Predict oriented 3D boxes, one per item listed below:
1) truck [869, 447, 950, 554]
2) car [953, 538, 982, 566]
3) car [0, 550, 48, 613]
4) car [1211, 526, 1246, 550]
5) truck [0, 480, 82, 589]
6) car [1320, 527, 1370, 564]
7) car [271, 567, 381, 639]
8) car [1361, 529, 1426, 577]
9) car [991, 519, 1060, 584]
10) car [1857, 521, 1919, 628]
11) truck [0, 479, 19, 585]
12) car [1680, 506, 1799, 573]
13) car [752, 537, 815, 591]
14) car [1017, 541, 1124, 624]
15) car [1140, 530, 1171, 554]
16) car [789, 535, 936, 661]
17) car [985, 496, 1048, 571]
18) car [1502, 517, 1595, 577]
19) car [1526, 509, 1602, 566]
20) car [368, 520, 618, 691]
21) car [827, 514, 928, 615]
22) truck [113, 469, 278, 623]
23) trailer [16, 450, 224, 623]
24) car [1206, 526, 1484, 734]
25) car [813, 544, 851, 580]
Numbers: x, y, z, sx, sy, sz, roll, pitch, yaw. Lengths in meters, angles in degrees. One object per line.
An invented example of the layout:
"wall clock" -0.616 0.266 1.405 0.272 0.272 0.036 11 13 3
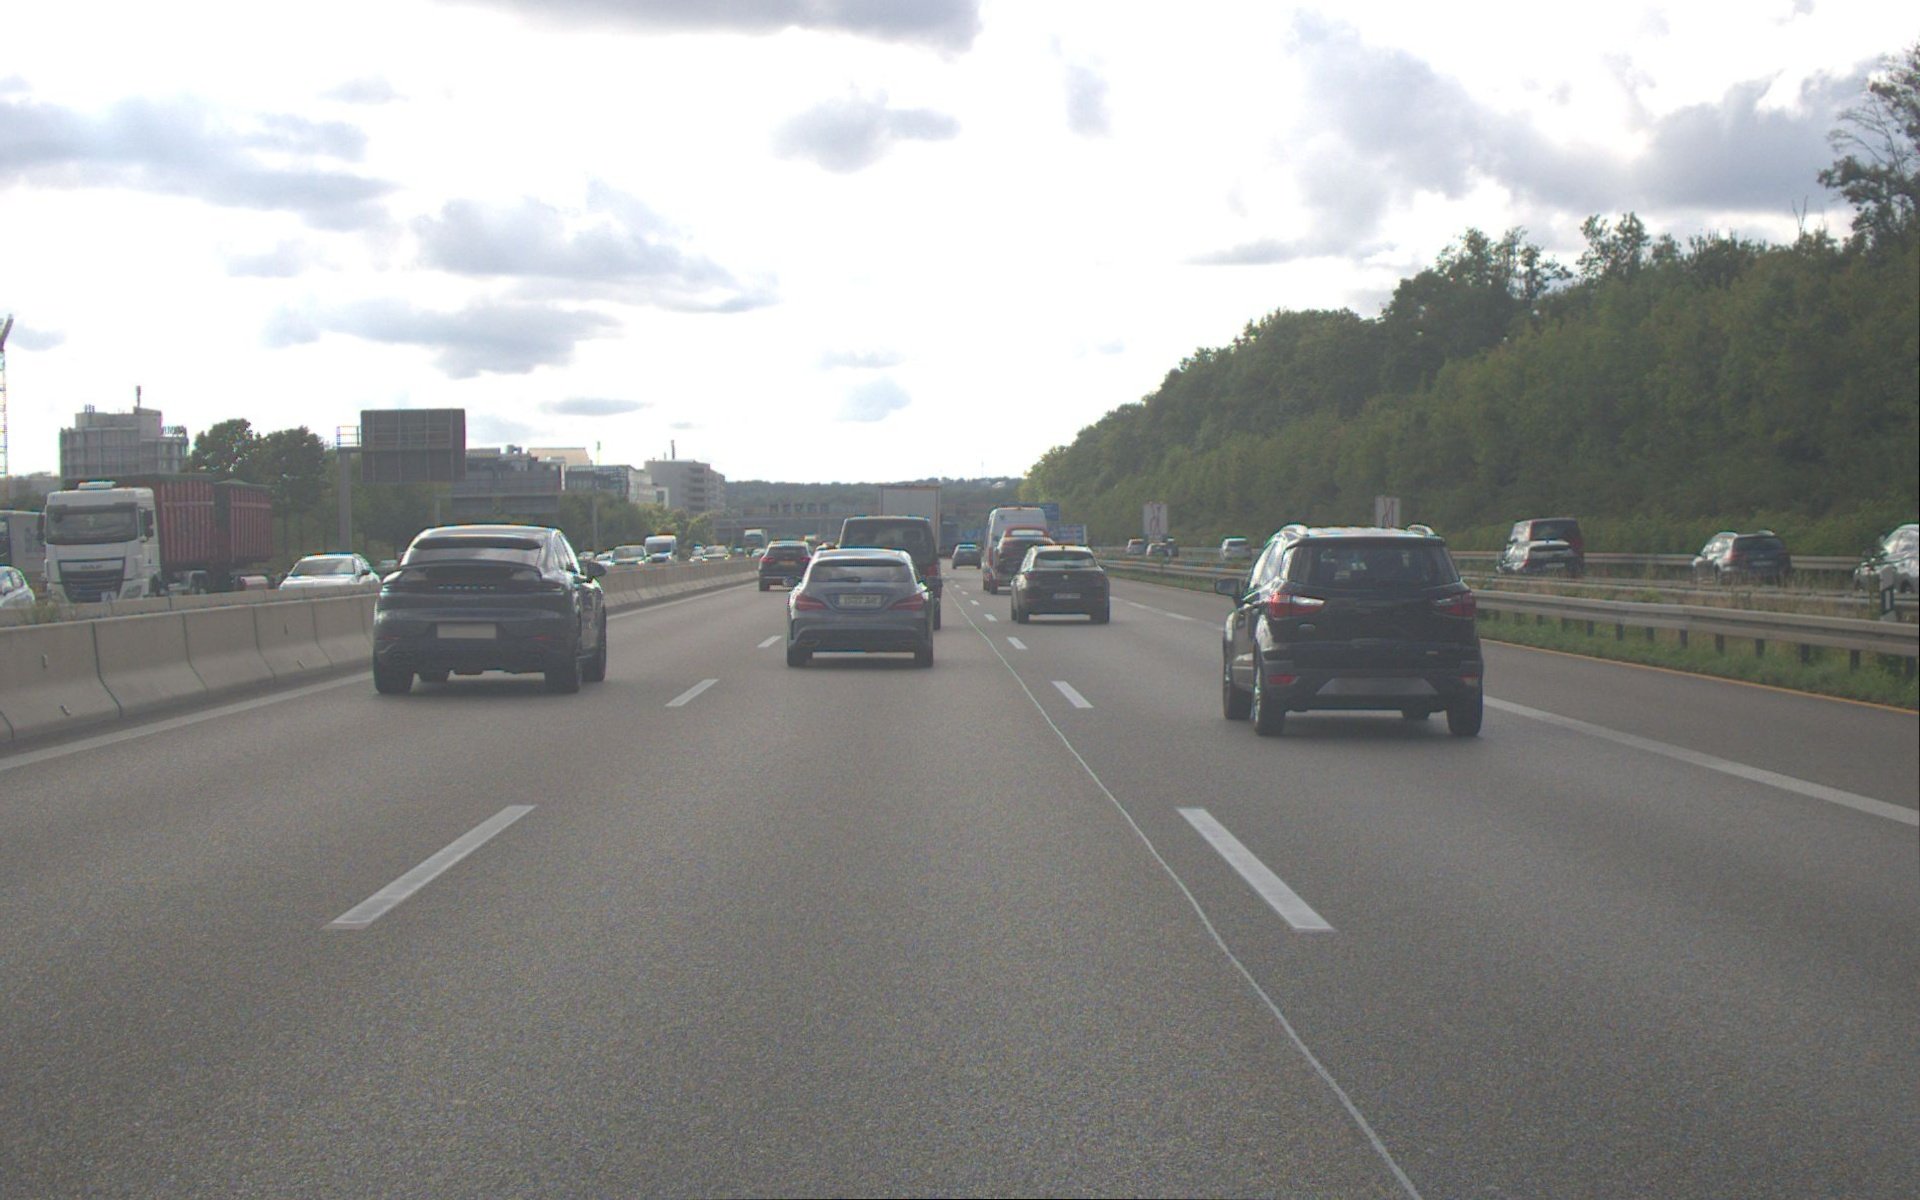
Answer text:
"truck" -2.146 -4.203 146.799 3.263 4.360 11.027 1 1 -1
"car" 0.466 -2.978 212.983 1.752 1.689 4.190 0 1 -1
"car" -19.409 -0.368 68.111 1.655 1.188 4.131 -1 1 -1
"car" 16.963 -3.902 217.415 1.752 1.511 4.191 0 1 -2
"truck" -43.566 -2.980 157.709 3.074 4.786 14.128 0 1 -1
"car" 17.847 -2.542 159.450 1.752 1.689 4.190 0 1 -1
"car" -14.323 0.041 77.852 1.688 1.499 4.643 -1 1 -1
"car" 15.492 -1.689 123.016 1.752 1.689 4.190 0 1 -1
"car" 1.936 -1.472 102.856 1.913 1.912 4.031 0 1 -1
"car" 16.070 -0.448 55.729 1.846 1.644 4.306 -2 1 -1
"truck" -43.551 -2.985 150.896 3.046 4.643 5.072 0 1 0
"car" 19.177 -1.492 84.734 1.728 1.540 4.306 -2 1 -2
"car" -5.678 -1.182 110.747 1.873 1.692 4.072 0 1 -1
"car" 2.064 -0.355 65.355 1.832 1.516 4.225 0 1 -1
"car" 13.171 -3.921 232.012 1.729 1.528 4.453 -1 1 -1
"car" -1.181 -0.064 42.601 1.720 1.474 4.392 0 1 -1
"car" 1.800 -2.131 109.895 1.873 2.349 4.282 0 1 -1
"car" 15.519 -1.404 90.847 1.595 1.540 4.191 0 1 -2
"car" 19.323 -2.011 110.097 1.595 1.797 3.825 0 1 -2
"car" -4.734 -0.003 35.588 1.912 1.630 5.501 0 1 -1
"car" -1.440 -0.655 60.595 1.720 1.718 4.392 0 1 -1
"truck" -22.249 -1.597 100.543 3.046 4.274 8.590 -1 1 -1
"trailer" -22.039 -1.680 90.876 3.046 4.274 10.656 -1 1 -1
"car" 3.058 0.187 28.008 1.697 1.559 4.114 0 1 -1
"car" -5.788 -1.725 155.956 1.697 1.605 4.114 0 1 -1
